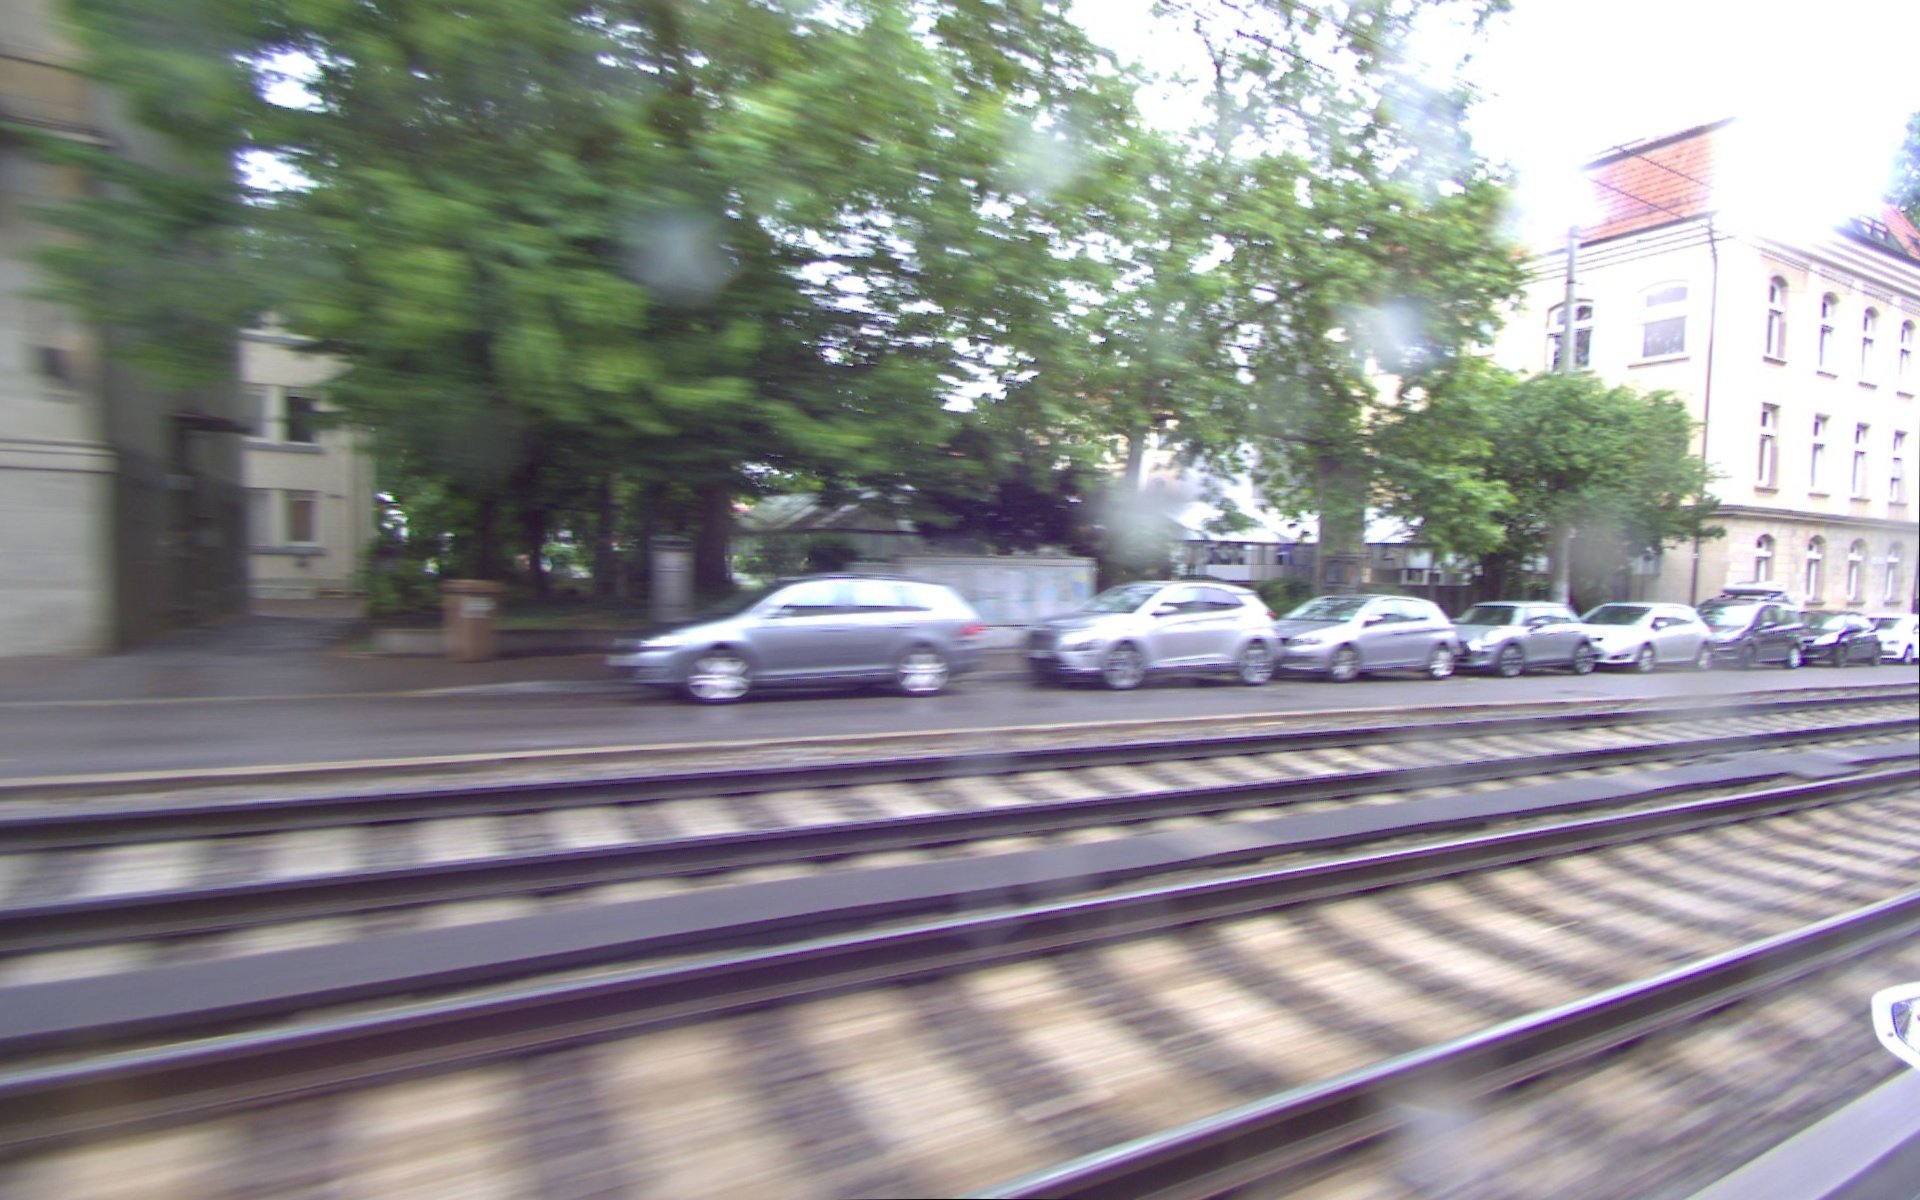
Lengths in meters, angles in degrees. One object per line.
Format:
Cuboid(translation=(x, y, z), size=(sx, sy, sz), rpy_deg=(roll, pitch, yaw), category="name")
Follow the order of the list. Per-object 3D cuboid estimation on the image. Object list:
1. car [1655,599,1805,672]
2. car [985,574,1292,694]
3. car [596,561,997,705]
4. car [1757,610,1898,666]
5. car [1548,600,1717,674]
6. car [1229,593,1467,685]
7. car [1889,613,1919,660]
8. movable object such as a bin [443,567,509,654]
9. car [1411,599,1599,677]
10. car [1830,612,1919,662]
Cuboid(translation=(19.045, 0.861, 24.810), size=(4.025, 1.665, 1.568), rpy_deg=(1, -1, -31), category="car")
Cuboid(translation=(2.733, 0.493, 15.047), size=(4.491, 1.557, 1.745), rpy_deg=(1, -1, -31), category="car")
Cuboid(translation=(-1.920, 0.384, 12.309), size=(4.500, 1.483, 1.839), rpy_deg=(1, -1, -32), category="car")
Cuboid(translation=(23.649, 1.023, 27.367), size=(3.961, 1.432, 1.667), rpy_deg=(1, -1, -29), category="car")
Cuboid(translation=(14.989, 0.802, 22.343), size=(4.106, 1.525, 1.531), rpy_deg=(1, -1, -31), category="car")
Cuboid(translation=(6.806, 0.653, 17.529), size=(4.106, 1.432, 1.745), rpy_deg=(1, -1, -31), category="car")
Cuboid(translation=(31.785, 1.191, 32.408), size=(3.807, 1.448, 1.606), rpy_deg=(1, 1, -31), category="car")
Cuboid(translation=(-6.551, 0.138, 13.588), size=(0.763, 1.135, 0.714), rpy_deg=(1, 2, -28), category="movable object such as a bin")
Cuboid(translation=(10.915, 0.735, 20.047), size=(3.907, 1.432, 1.531), rpy_deg=(1, -1, -31), category="car")
Cuboid(translation=(27.846, 1.099, 30.045), size=(3.938, 1.409, 1.493), rpy_deg=(1, -1, -29), category="car")
